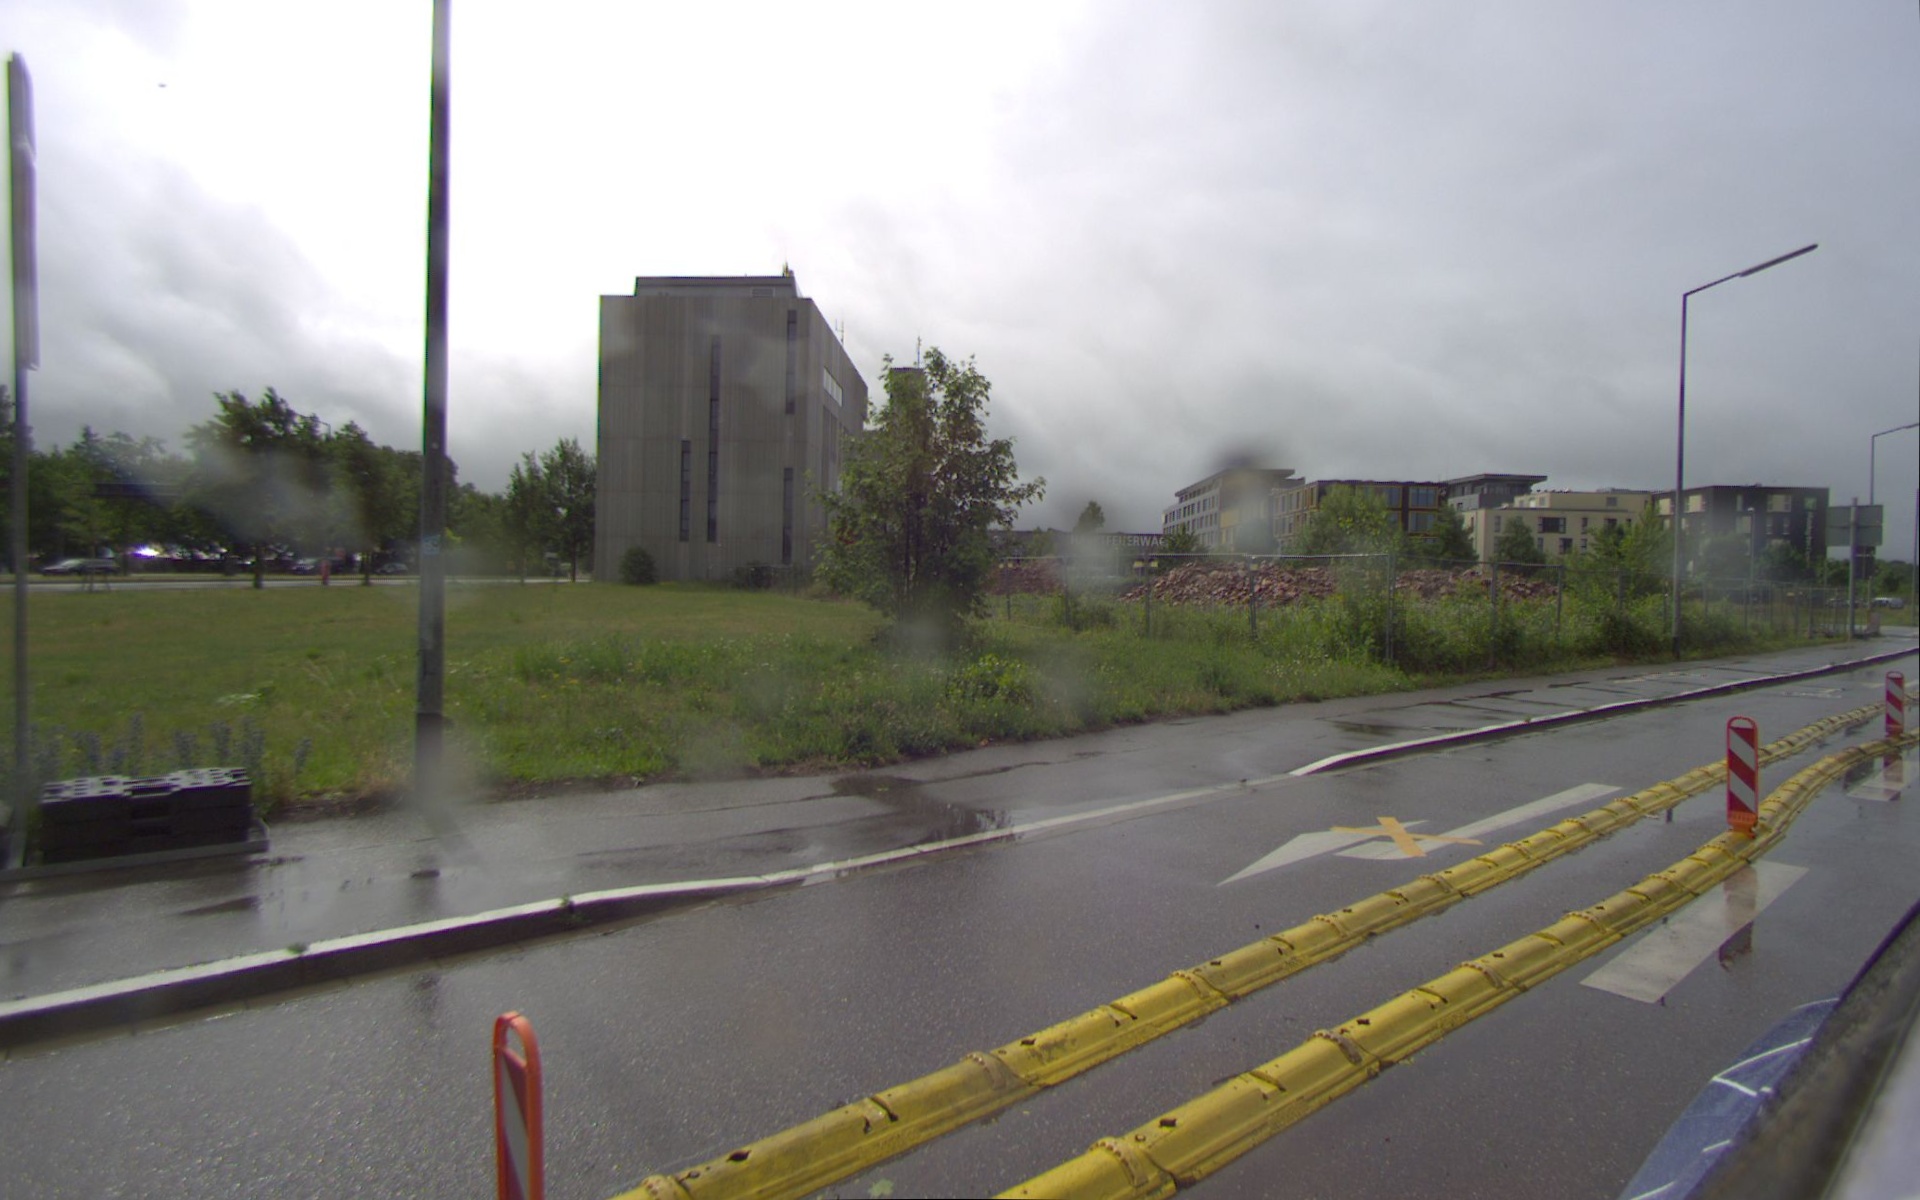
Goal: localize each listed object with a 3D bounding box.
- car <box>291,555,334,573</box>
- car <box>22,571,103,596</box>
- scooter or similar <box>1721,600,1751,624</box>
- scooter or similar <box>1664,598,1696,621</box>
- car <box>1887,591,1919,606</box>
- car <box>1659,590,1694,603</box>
[{"bbox_3d":[-58.347,-3.201,91.285,1.515,1.578,3.521,1,1,3],"label":"car"},{"bbox_3d":[-59.806,-1.141,67.530,1.515,1.578,4.232,1,1,3],"label":"car"},{"bbox_3d":[39.474,0.592,51.468,0.473,1.164,1.196,1,1,-7],"label":"scooter or similar"},{"bbox_3d":[38.534,0.523,54.178,0.731,1.164,1.197,1,1,-8],"label":"scooter or similar"},{"bbox_3d":[138.378,-0.199,147.783,3.930,2.039,1.997,1,1,6],"label":"car"},{"bbox_3d":[89.117,-0.414,125.942,3.591,1.603,1.652,1,1,-17],"label":"car"}]
